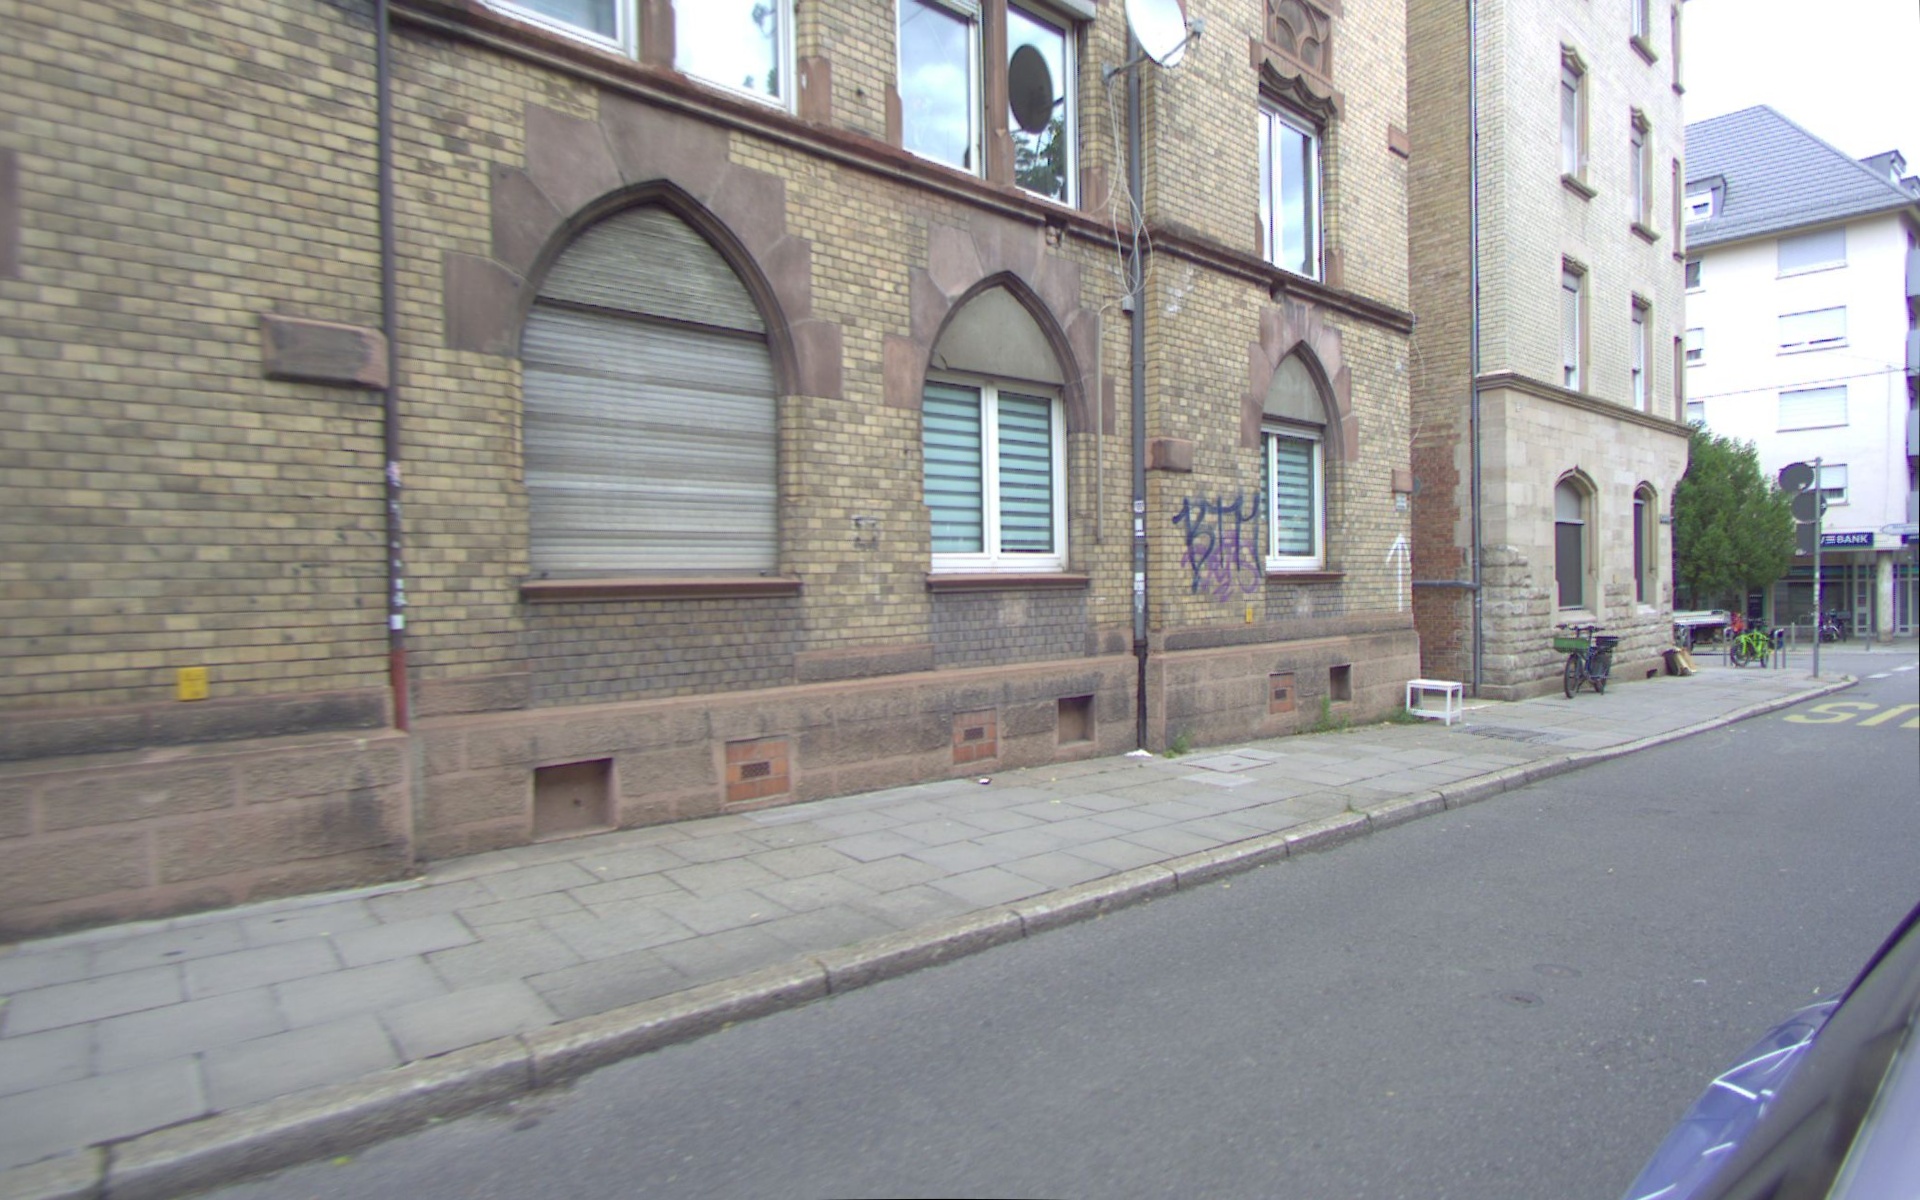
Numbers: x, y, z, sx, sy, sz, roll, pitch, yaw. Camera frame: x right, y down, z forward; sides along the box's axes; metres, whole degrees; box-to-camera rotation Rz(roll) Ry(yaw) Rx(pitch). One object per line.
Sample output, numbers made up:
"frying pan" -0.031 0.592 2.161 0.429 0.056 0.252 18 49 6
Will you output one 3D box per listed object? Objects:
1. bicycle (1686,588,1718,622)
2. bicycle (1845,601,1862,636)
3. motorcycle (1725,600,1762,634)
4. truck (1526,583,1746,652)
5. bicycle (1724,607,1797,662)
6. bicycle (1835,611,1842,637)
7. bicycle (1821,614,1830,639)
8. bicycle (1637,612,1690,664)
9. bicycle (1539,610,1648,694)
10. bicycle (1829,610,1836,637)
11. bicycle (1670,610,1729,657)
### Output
"bicycle" 27.909 0.185 38.045 1.849 1.271 0.439 0 -1 -37
"bicycle" 32.214 0.660 36.492 0.399 1.220 1.265 -2 -2 43
"motorcycle" 28.699 0.608 37.056 1.896 1.211 0.591 0 2 -39
"truck" 22.764 0.643 34.260 5.840 2.134 2.513 -2 -4 44
"bicycle" 18.002 0.777 22.738 2.887 1.164 0.683 2 -1 -39
"bicycle" 31.149 0.843 35.893 0.120 0.919 1.265 -1 -1 43
"bicycle" 31.648 0.963 37.009 0.184 0.919 1.217 -1 -1 43
"bicycle" 18.297 0.972 26.294 2.342 1.293 0.459 0 -1 -39
"bicycle" 9.822 0.759 15.644 2.439 1.164 0.683 -1 0 -39
"bicycle" 31.245 0.841 36.226 0.141 0.918 1.230 0 1 43
"bicycle" 18.676 0.850 25.540 2.021 1.164 0.683 2 -3 -39
